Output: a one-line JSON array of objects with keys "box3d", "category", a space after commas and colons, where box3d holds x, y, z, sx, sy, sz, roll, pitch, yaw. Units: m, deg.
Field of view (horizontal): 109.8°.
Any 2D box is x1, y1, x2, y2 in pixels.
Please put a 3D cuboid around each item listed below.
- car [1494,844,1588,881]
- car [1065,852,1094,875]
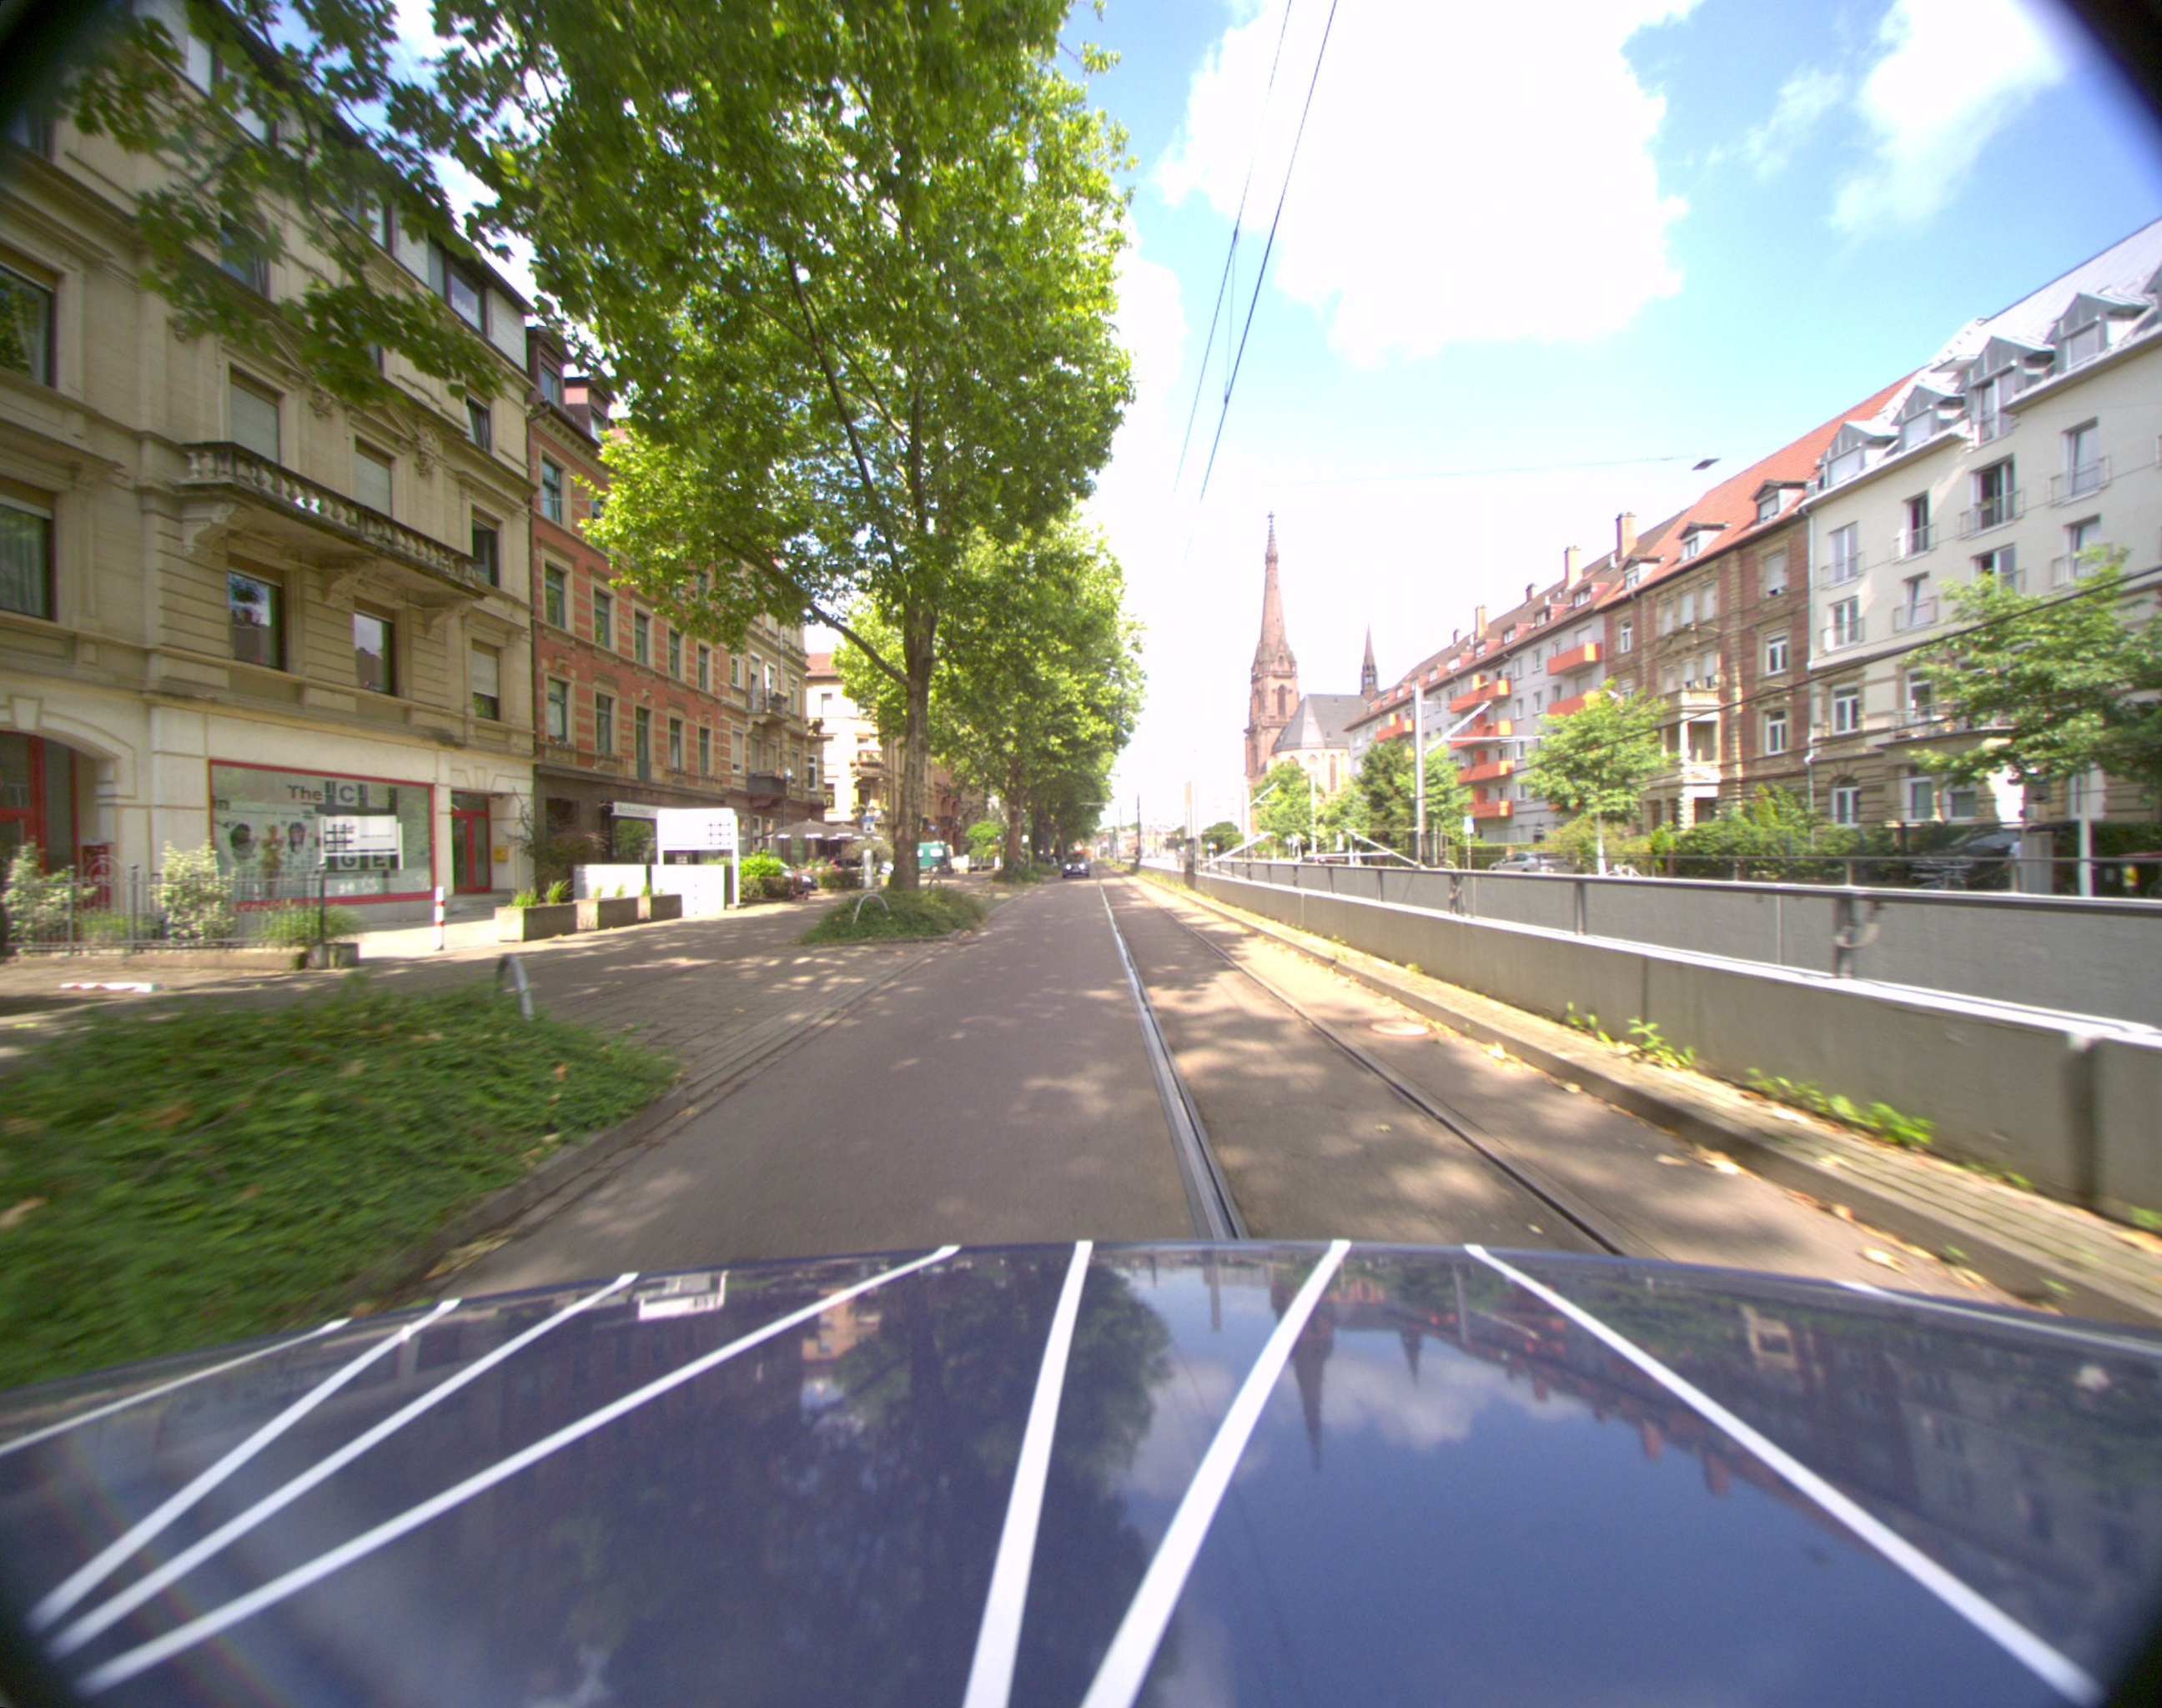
[{"box3d": [21.582, 0.368, 35.836, 1.998, 1.628, 4.113, -1, 0, 1], "category": "car"}, {"box3d": [-0.080, 0.596, 51.474, 1.799, 1.454, 4.567, -1, 1, 2], "category": "car"}]
